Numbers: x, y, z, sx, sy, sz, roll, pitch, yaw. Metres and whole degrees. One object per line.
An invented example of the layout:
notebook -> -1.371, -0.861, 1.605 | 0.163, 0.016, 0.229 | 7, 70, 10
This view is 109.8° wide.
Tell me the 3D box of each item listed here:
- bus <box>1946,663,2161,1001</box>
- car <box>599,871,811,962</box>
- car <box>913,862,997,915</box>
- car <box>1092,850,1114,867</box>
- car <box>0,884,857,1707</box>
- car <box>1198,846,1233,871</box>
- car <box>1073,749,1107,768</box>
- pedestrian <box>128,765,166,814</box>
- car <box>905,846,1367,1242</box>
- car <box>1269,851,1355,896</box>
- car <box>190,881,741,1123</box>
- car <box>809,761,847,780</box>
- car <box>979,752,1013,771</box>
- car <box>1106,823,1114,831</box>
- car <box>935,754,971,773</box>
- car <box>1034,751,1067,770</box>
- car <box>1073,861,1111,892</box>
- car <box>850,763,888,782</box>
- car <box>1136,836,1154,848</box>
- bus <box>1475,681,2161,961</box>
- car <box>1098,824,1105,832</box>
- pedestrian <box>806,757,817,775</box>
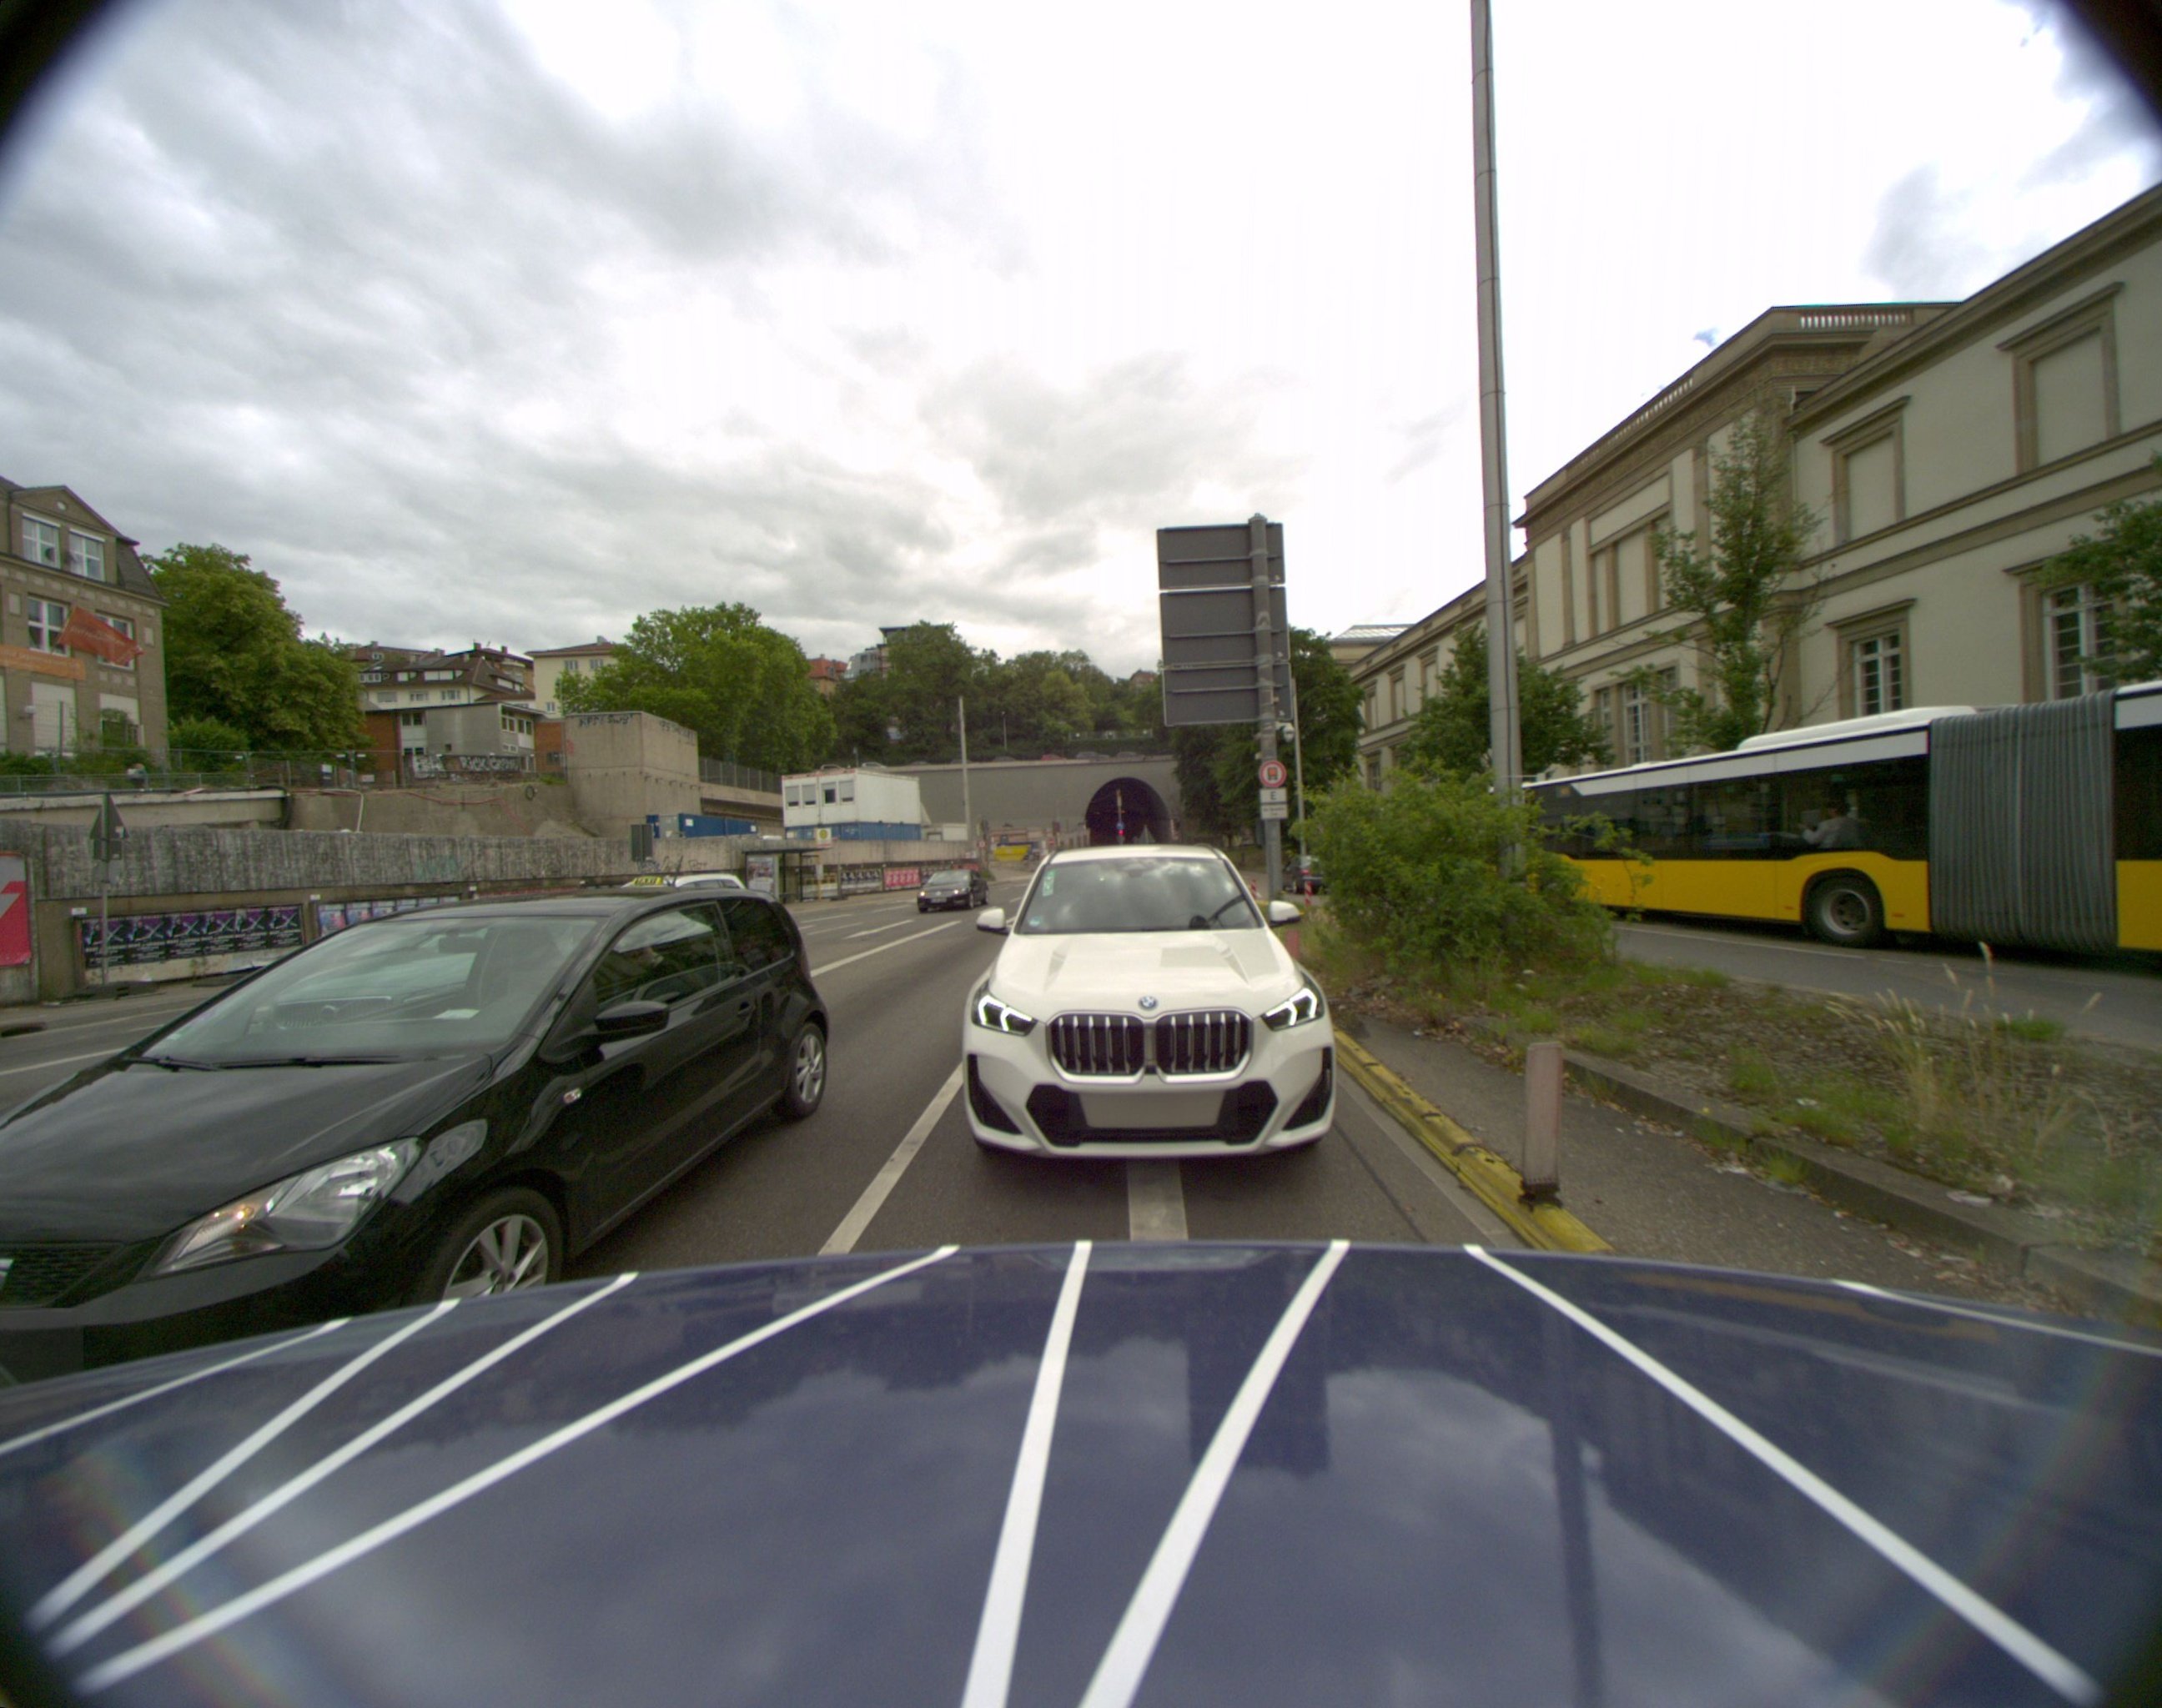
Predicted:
bus -> 11.276, -0.252, 4.090 | 2.852, 3.096, 9.122 | -3, 0, 1
car -> -8.099, 1.272, 16.937 | 1.703, 1.550, 4.554 | -3, 0, 12
car -> -4.320, 1.147, 26.816 | 1.704, 1.550, 4.552 | -3, 0, 6
car -> 2.087, 0.375, 70.667 | 1.730, 1.435, 4.001 | -3, 0, 5
car -> -2.510, 1.002, 3.406 | 1.667, 1.487, 3.882 | -3, 0, 2
car -> 9.470, 0.295, 53.769 | 1.701, 1.580, 3.882 | -3, 0, -1
car -> 1.094, -11.816, 94.483 | 3.998, 2.002, 1.999 | -2, 1, -2
pedestrian -> -39.612, -2.719, 32.239 | 0.646, 2.002, 0.666 | -2, 1, -3
car -> 0.290, 0.798, 5.117 | 1.848, 1.581, 3.882 | -3, 0, 2
car -> 8.559, 0.677, 28.600 | 1.705, 1.463, 4.629 | -3, 0, -1
car -> -5.709, 1.214, 8.076 | 1.826, 1.562, 4.654 | -3, 0, 3
car -> -31.070, -10.245, 93.305 | 3.998, 2.002, 1.999 | -2, 1, -5
car -> -10.491, -11.388, 94.004 | 3.998, 2.002, 1.999 | -2, 1, -2
car -> 5.903, -5.552, 155.706 | 1.667, 1.582, 3.882 | -1, 0, 2
car -> -15.810, -11.192, 93.893 | 3.998, 2.002, 1.999 | -2, 1, -2
car -> -3.784, -11.637, 94.399 | 3.998, 2.002, 1.999 | -2, 1, -2
car -> 0.539, 1.041, 37.064 | 1.728, 1.310, 4.000 | -3, 0, 1
car -> -26.021, -10.058, 93.369 | 3.998, 2.002, 1.999 | -2, 1, -5
car -> 7.873, -1.478, 94.262 | 1.711, 1.505, 4.287 | 0, 0, -3
bus -> 11.170, -0.388, 13.601 | 2.853, 3.096, 9.747 | -3, 0, -1
car -> 4.887, -6.188, 180.445 | 1.667, 1.582, 3.882 | -1, 0, 2
pedestrian -> -32.035, -10.461, 90.350 | 0.851, 2.002, 0.905 | -3, 1, -3
